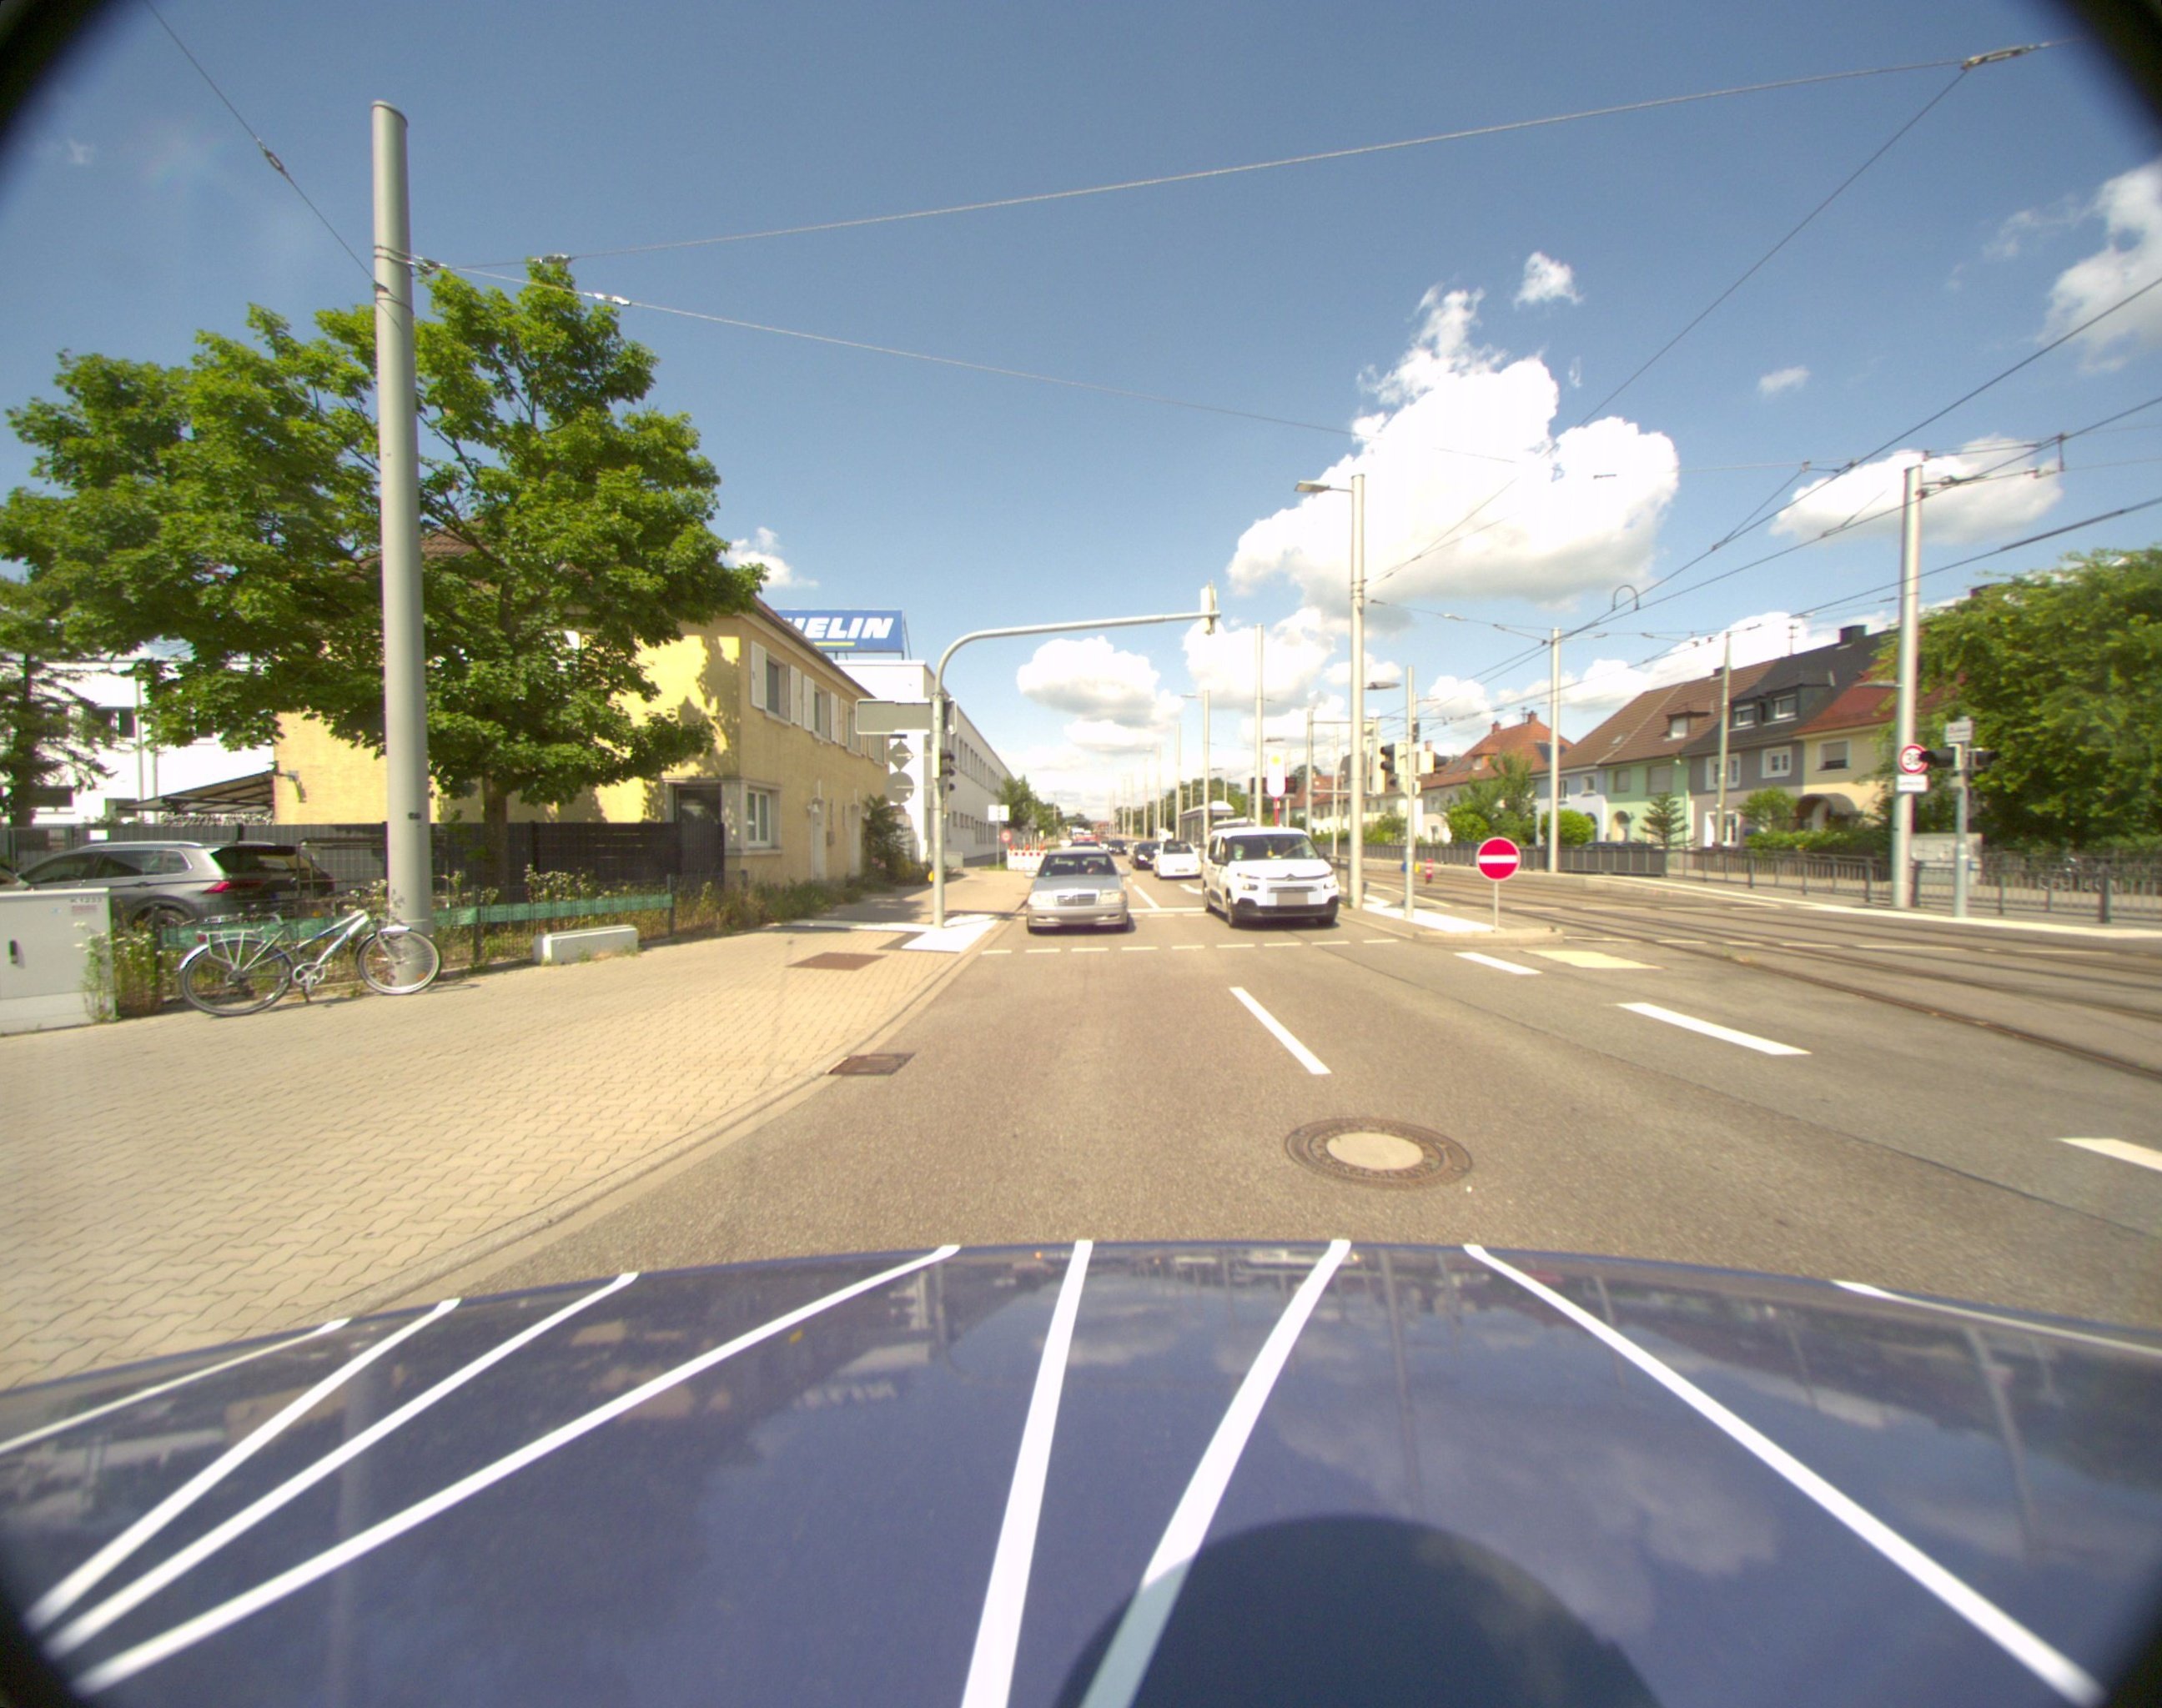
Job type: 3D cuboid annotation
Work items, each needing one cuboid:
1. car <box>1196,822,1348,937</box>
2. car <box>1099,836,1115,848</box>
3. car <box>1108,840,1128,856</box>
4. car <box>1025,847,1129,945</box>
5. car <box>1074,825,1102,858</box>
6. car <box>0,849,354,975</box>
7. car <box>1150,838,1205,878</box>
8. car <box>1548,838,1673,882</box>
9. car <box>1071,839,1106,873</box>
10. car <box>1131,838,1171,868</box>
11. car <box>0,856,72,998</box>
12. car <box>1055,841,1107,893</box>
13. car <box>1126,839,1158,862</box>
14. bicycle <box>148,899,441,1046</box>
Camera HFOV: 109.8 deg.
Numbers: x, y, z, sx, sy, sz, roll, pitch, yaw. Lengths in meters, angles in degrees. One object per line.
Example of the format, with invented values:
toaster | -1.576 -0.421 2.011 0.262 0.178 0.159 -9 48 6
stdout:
car | 3.397 0.329 14.385 1.799 1.805 4.328 -2 2 1
car | 3.014 -1.431 89.013 1.698 1.350 4.497 -2 2 -1
car | 3.671 -0.626 76.066 1.698 1.350 4.497 -2 2 -1
car | -0.090 0.649 14.289 1.608 1.390 4.460 -2 2 -1
car | 0.454 -0.910 53.373 1.787 2.135 5.167 -2 2 -1
car | -13.452 0.758 10.886 4.118 1.588 1.799 -1 1 -5
car | 3.930 0.134 31.484 1.680 1.495 3.392 -2 2 -2
car | 18.955 0.153 27.449 1.688 1.344 4.176 -2 2 1
car | 0.333 0.061 38.546 1.664 1.530 3.998 -2 2 -1
car | 3.764 -0.093 41.380 1.680 1.414 3.556 -2 2 -2
car | -14.207 0.867 8.100 4.118 1.588 1.799 -1 1 -5
car | -0.019 0.397 26.797 1.664 1.565 3.998 -2 2 -1
car | 4.097 -0.287 51.455 1.698 1.350 4.497 -2 2 -1
bicycle | -7.051 1.001 6.923 0.462 1.013 1.759 0 3 41
